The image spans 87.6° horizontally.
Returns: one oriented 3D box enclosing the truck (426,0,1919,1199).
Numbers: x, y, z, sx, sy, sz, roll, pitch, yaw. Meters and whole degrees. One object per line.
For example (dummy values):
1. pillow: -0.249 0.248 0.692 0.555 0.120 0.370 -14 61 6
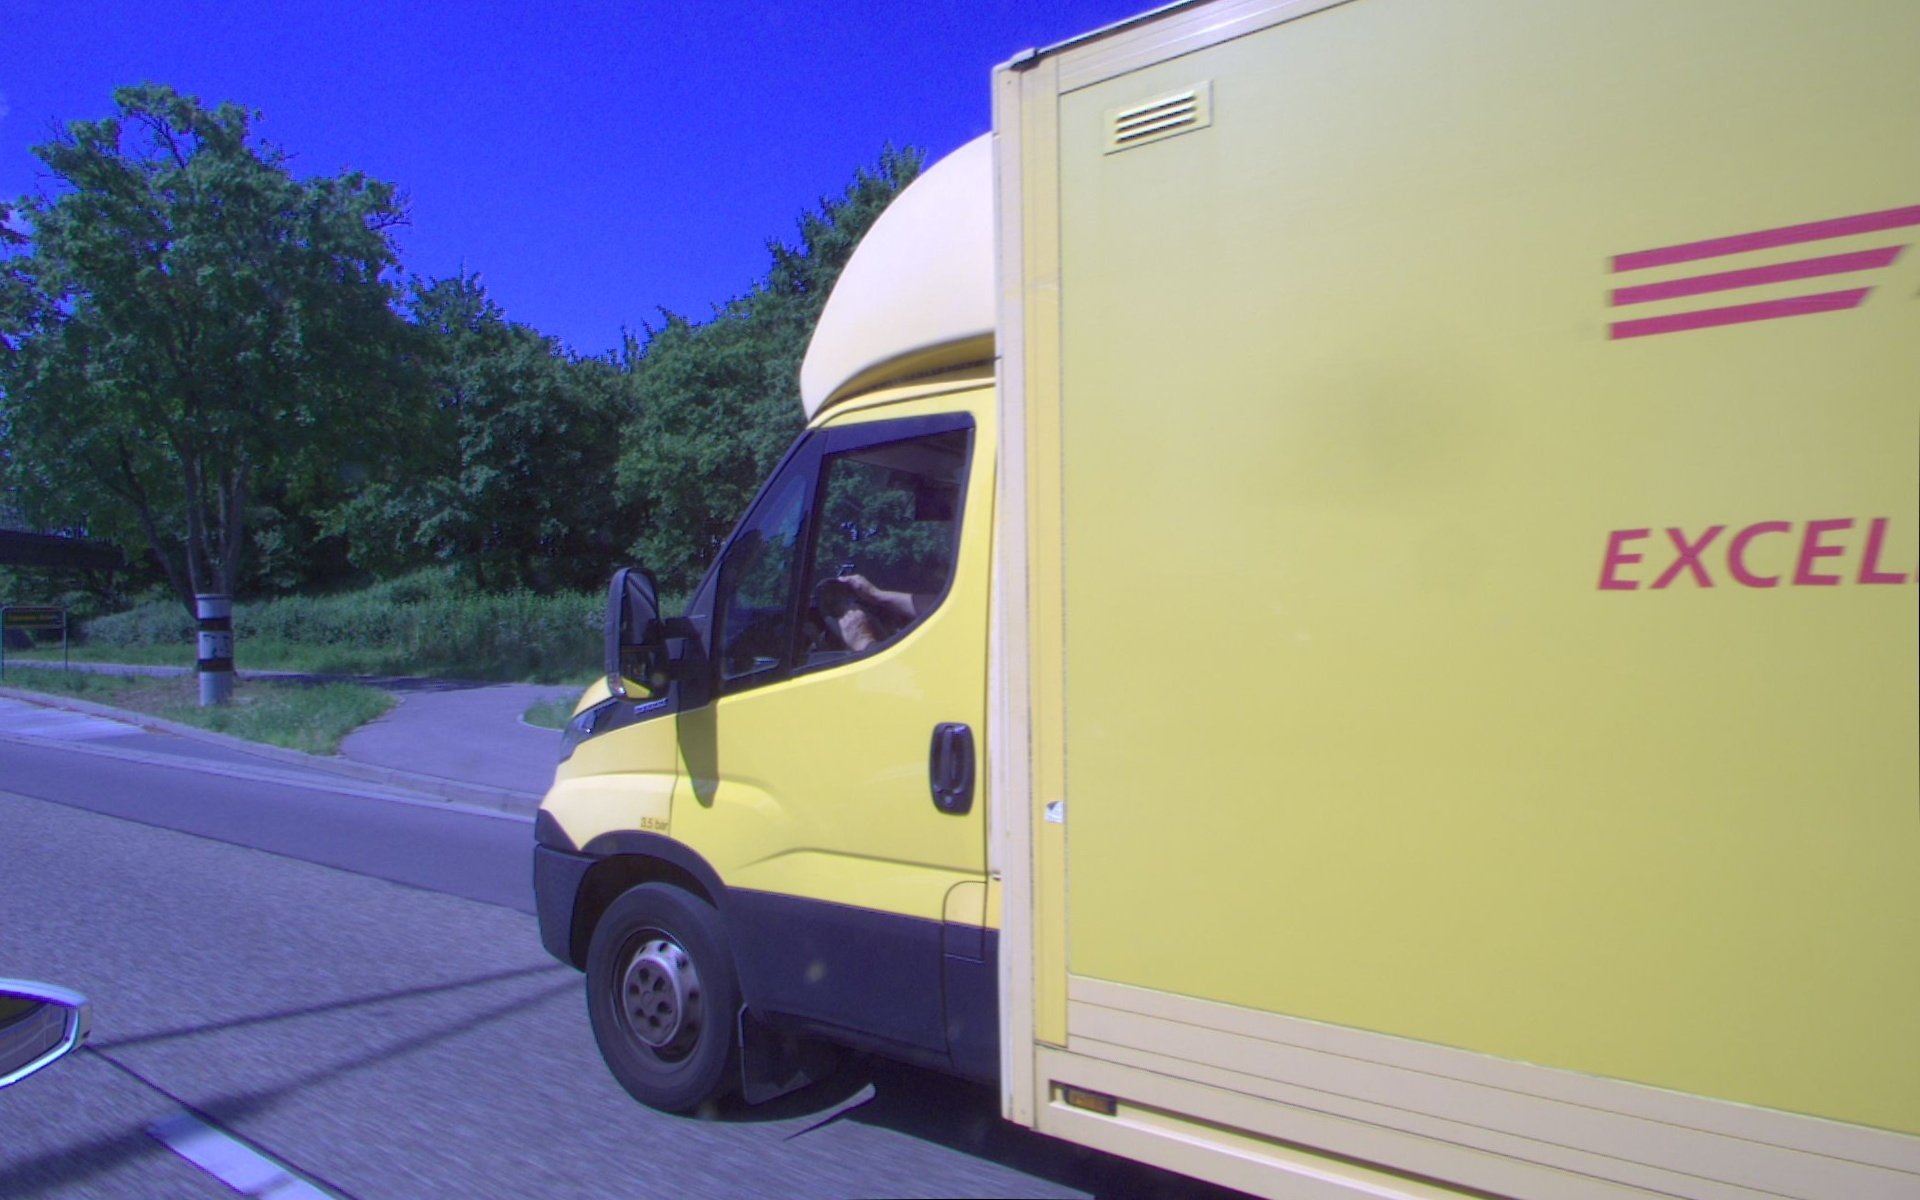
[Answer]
1. truck: 2.017 0.063 2.412 7.914 2.917 2.261 -1 -1 33
